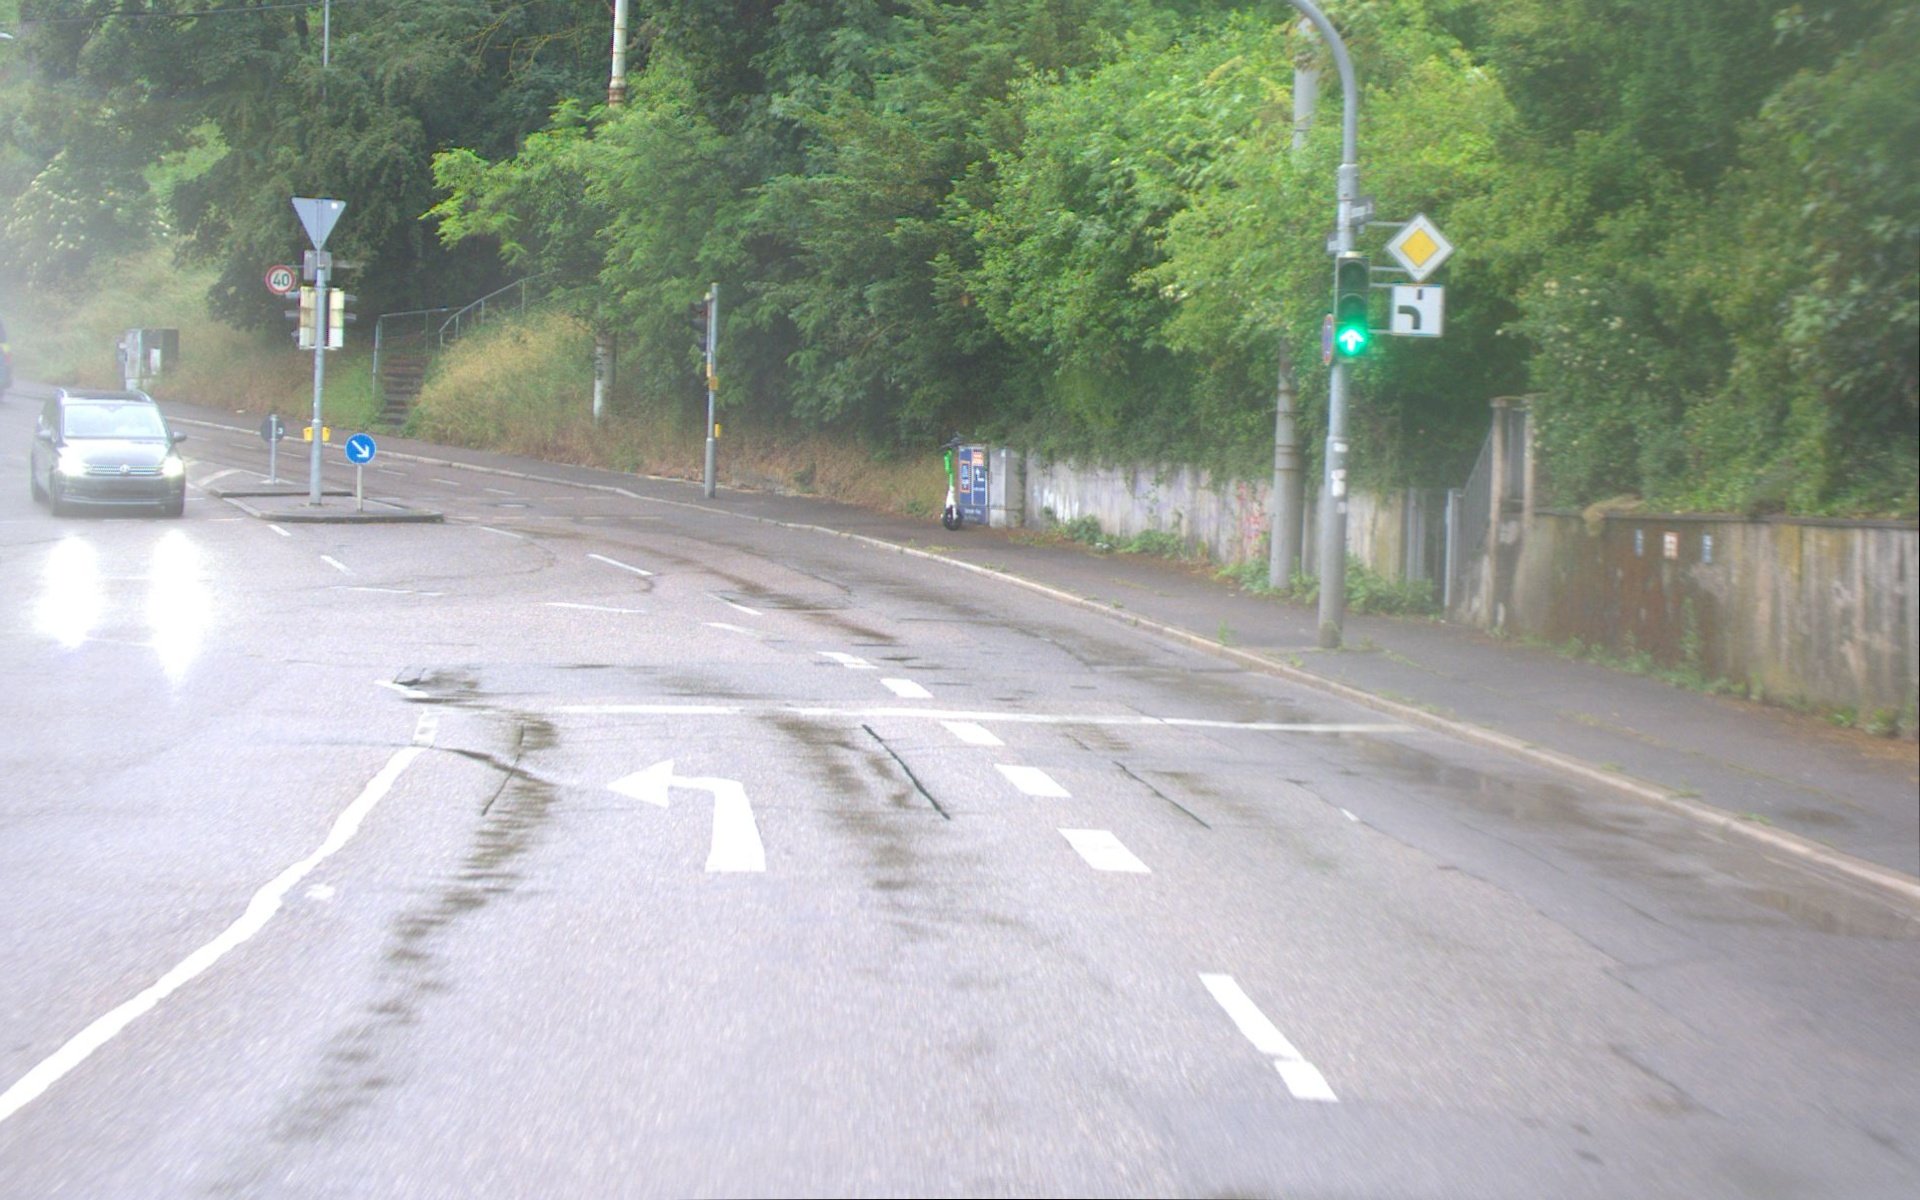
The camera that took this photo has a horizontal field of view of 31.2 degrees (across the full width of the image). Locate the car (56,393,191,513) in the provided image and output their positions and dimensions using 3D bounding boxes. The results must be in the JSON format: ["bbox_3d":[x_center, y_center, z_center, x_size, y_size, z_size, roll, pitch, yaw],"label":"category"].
[{"bbox_3d":[-11.939,-2.132,48.975,1.740,1.544,4.002,-2,5,-14],"label":"car"}]

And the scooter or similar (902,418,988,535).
[{"bbox_3d":[-0.220,-1.690,46.487,0.616,1.416,2.160,-1,6,-15],"label":"scooter or similar"}]

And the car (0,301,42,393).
[{"bbox_3d":[-21.849,-5.443,74.360,2.309,1.932,4.324,-4,6,-37],"label":"car"}]
